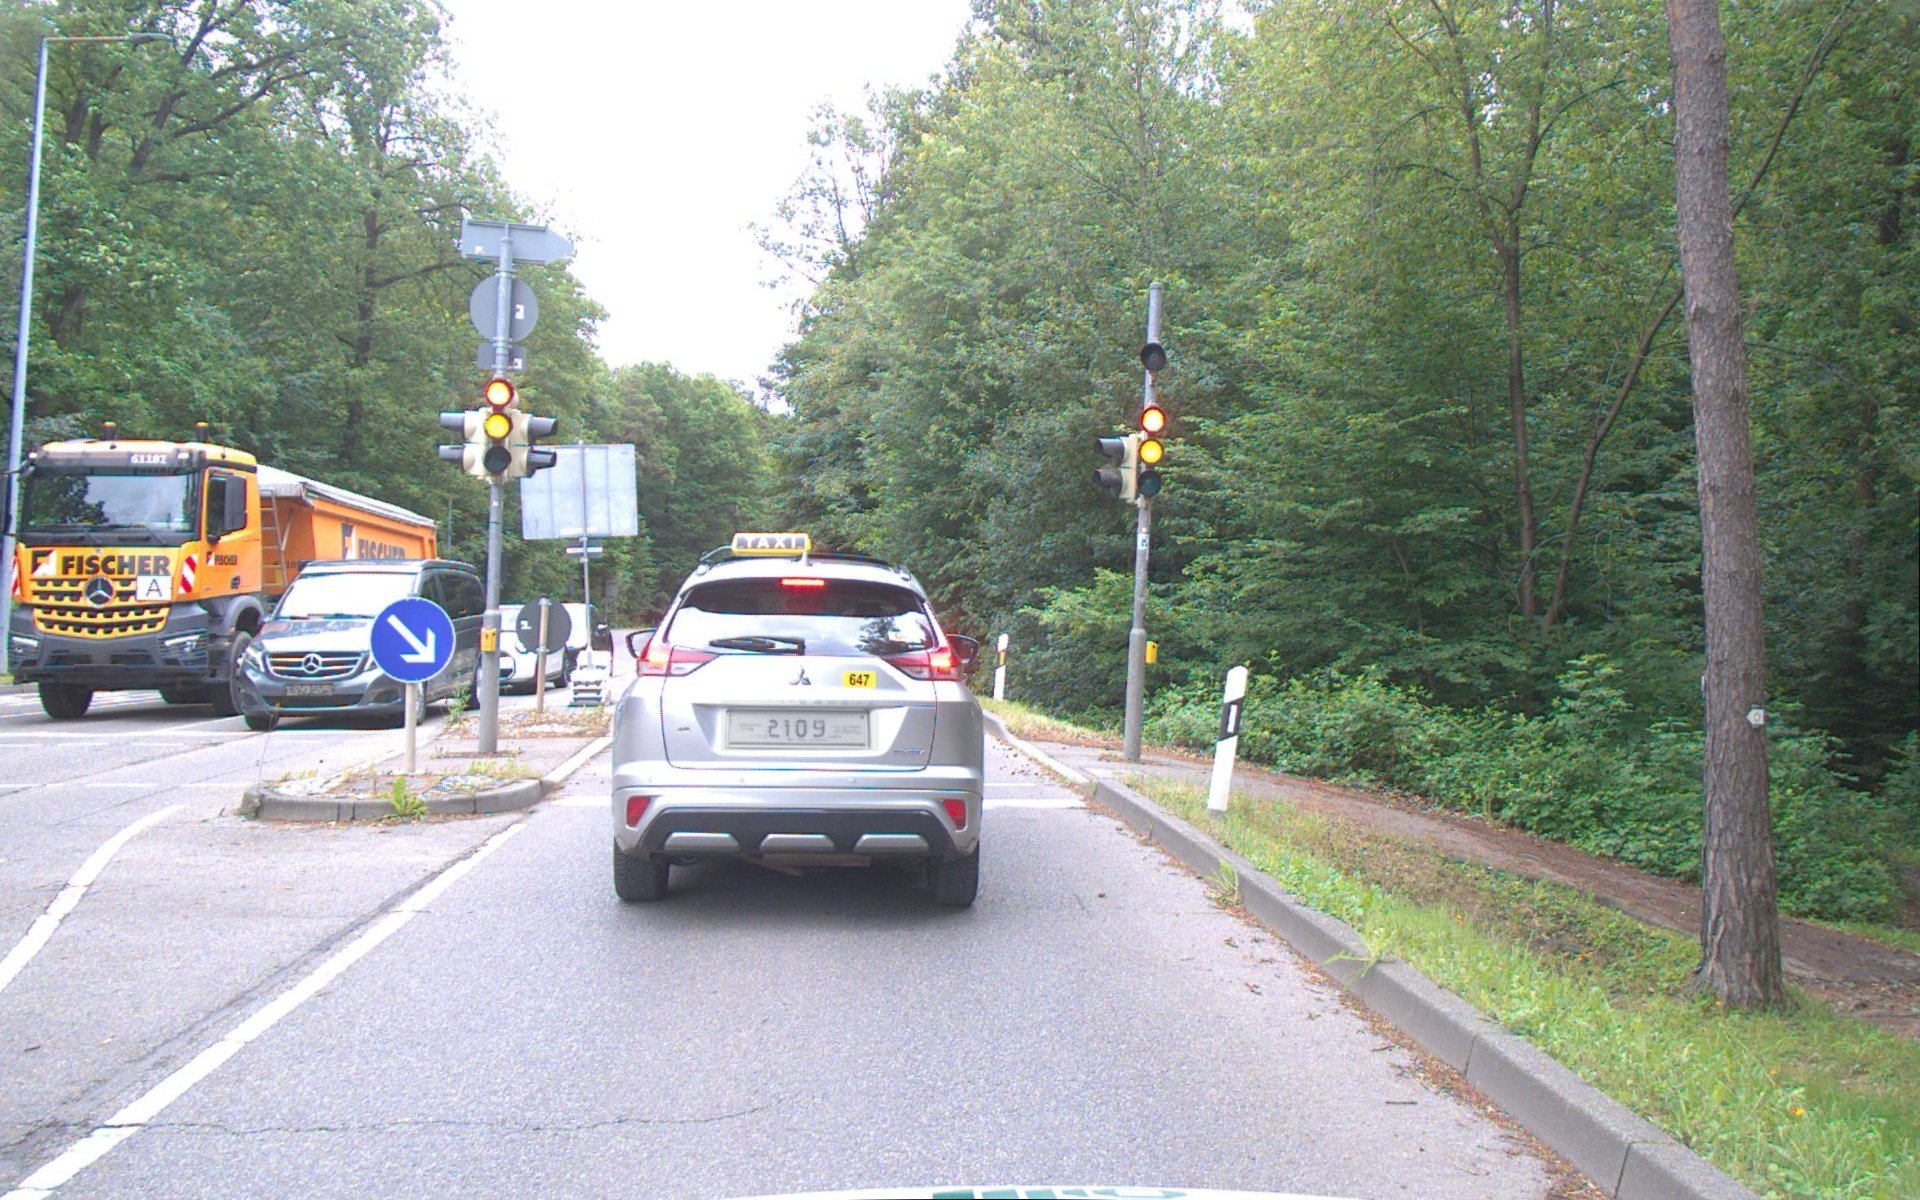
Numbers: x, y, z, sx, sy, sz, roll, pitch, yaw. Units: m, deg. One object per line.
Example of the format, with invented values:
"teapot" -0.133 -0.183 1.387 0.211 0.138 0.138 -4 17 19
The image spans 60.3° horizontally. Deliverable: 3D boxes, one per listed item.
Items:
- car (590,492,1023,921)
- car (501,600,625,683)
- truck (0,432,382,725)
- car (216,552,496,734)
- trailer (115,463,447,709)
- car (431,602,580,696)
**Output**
"car" -0.864 0.467 9.103 1.811 1.811 3.994 2 0 -6
"car" -7.943 0.805 33.371 1.775 1.534 3.718 -1 0 -4
"truck" -10.231 -0.202 22.764 2.686 3.376 7.150 0 -1 -6
"car" -7.137 0.475 20.133 1.954 1.927 4.834 -1 -1 -5
"trailer" -10.667 -0.136 27.064 2.686 3.376 8.557 0 -1 -6
"car" -7.391 0.759 27.215 1.580 1.344 3.719 -1 1 -3
